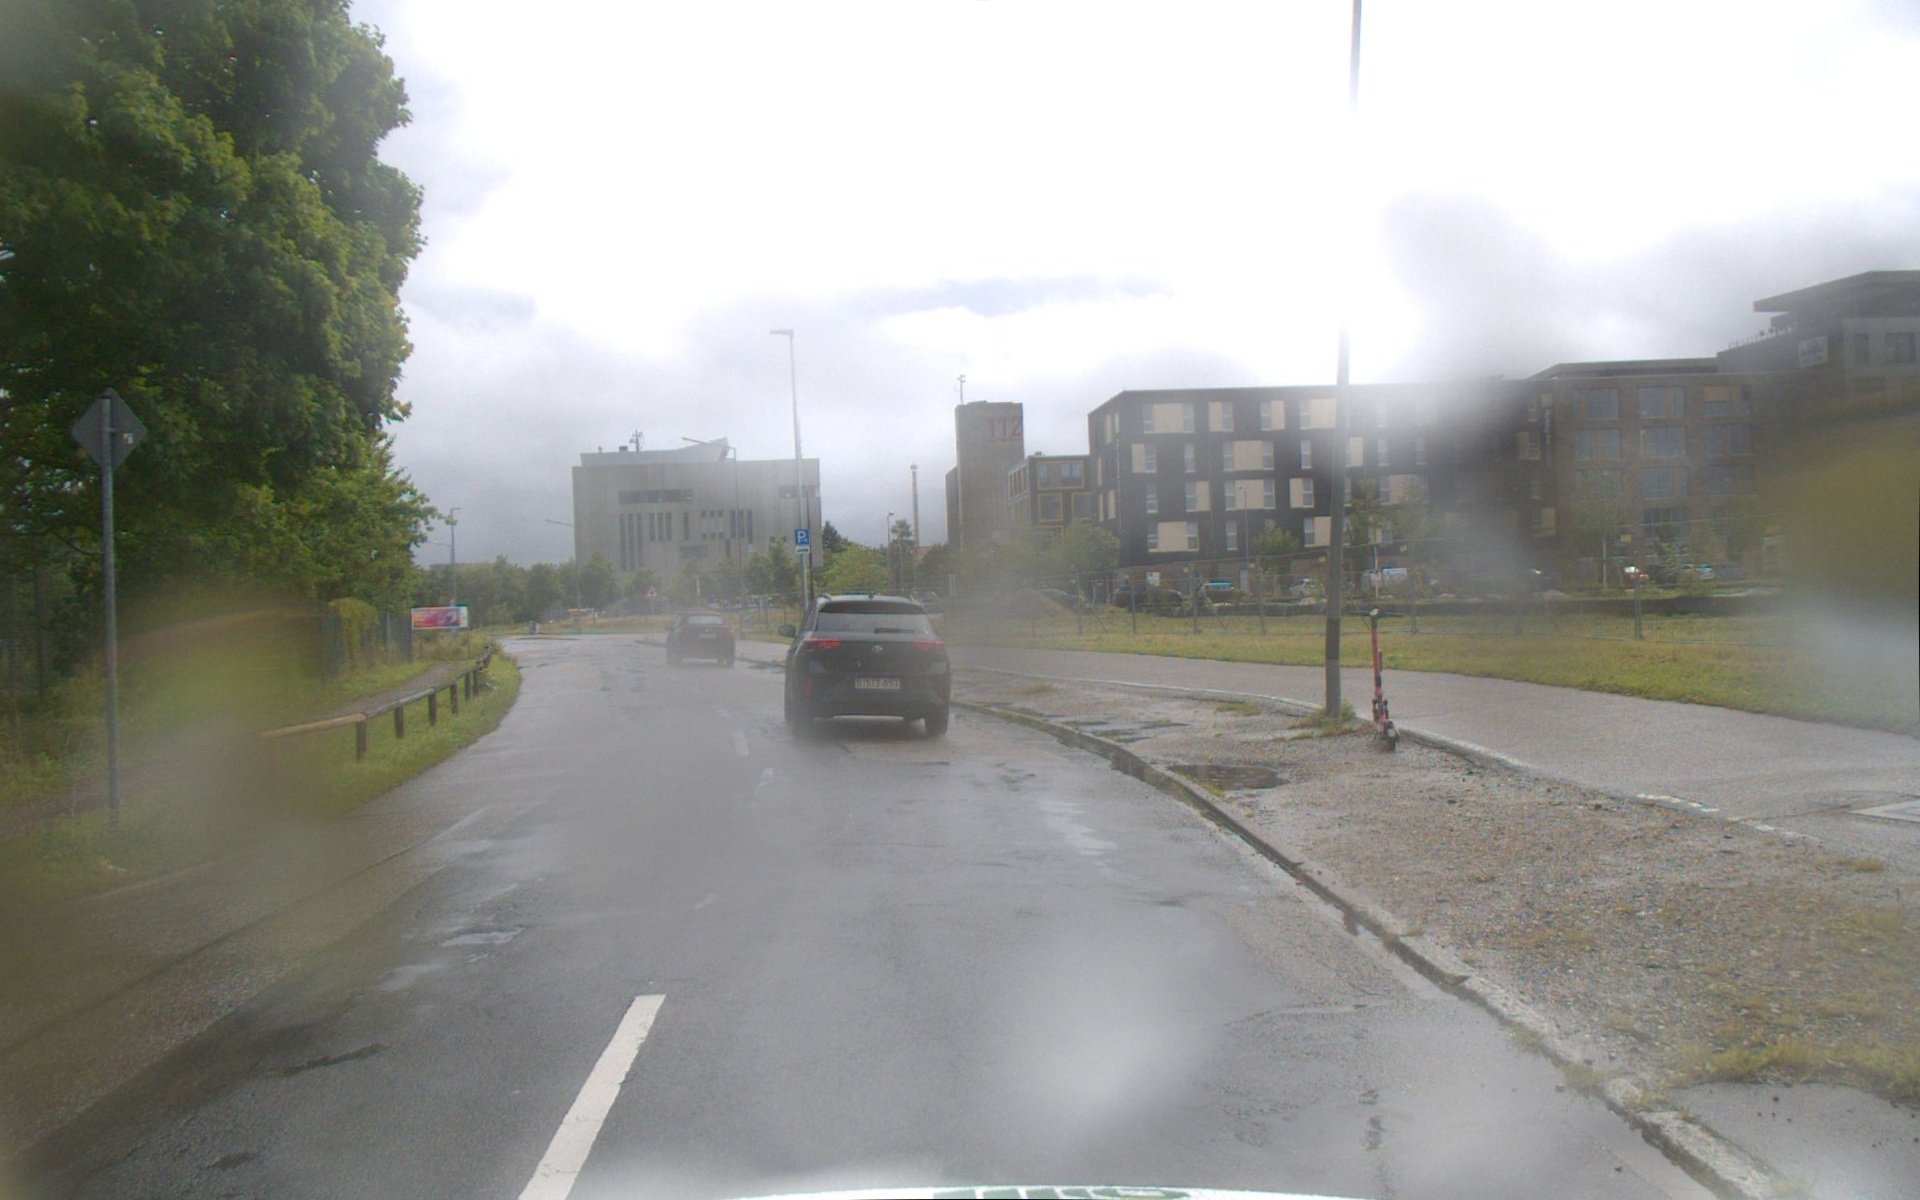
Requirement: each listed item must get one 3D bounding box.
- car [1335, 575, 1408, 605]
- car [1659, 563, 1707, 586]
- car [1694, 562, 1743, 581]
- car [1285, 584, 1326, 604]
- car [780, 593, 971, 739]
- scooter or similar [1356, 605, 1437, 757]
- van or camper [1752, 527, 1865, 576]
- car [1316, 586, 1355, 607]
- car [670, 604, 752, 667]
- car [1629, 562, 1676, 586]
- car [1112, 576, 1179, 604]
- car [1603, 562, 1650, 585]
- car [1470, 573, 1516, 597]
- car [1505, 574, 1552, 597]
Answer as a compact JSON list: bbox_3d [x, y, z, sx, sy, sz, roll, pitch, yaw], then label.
[{"bbox_3d":[27.175,-0.666,109.359,4.240,1.803,1.997,2,0,-6],"label":"car"},{"bbox_3d":[53.595,-1.901,122.728,1.514,1.643,3.836,0,0,-7],"label":"car"},{"bbox_3d":[56.452,-2.143,123.207,1.518,1.319,3.897,0,0,-7],"label":"car"},{"bbox_3d":[24.930,-0.402,119.560,1.729,1.420,3.801,0,0,-8],"label":"car"},{"bbox_3d":[-1.106,0.708,19.549,1.949,1.547,3.993,0,0,-7],"label":"car"},{"bbox_3d":[3.866,0.694,14.705,0.480,1.236,1.341,-3,1,8],"label":"scooter or similar"},{"bbox_3d":[57.883,-3.288,112.878,6.648,3.257,2.526,0,0,-7],"label":"van or camper"},{"bbox_3d":[27.141,-0.238,119.720,1.607,1.421,3.775,-1,-1,-7],"label":"car"},{"bbox_3d":[-6.871,0.930,45.383,1.810,1.466,3.986,-5,1,-13],"label":"car"},{"bbox_3d":[51.213,-1.917,122.377,1.514,1.643,3.836,0,0,-7],"label":"car"},{"bbox_3d":[12.010,-0.652,107.181,3.915,1.758,1.995,0,0,-11],"label":"car"},{"bbox_3d":[49.196,-1.930,122.156,1.514,1.643,3.836,0,0,-7],"label":"car"},{"bbox_3d":[39.027,-1.085,121.199,1.746,1.643,3.836,0,0,-8],"label":"car"},{"bbox_3d":[41.702,-1.054,121.403,1.746,1.643,3.836,0,0,-8],"label":"car"}]
